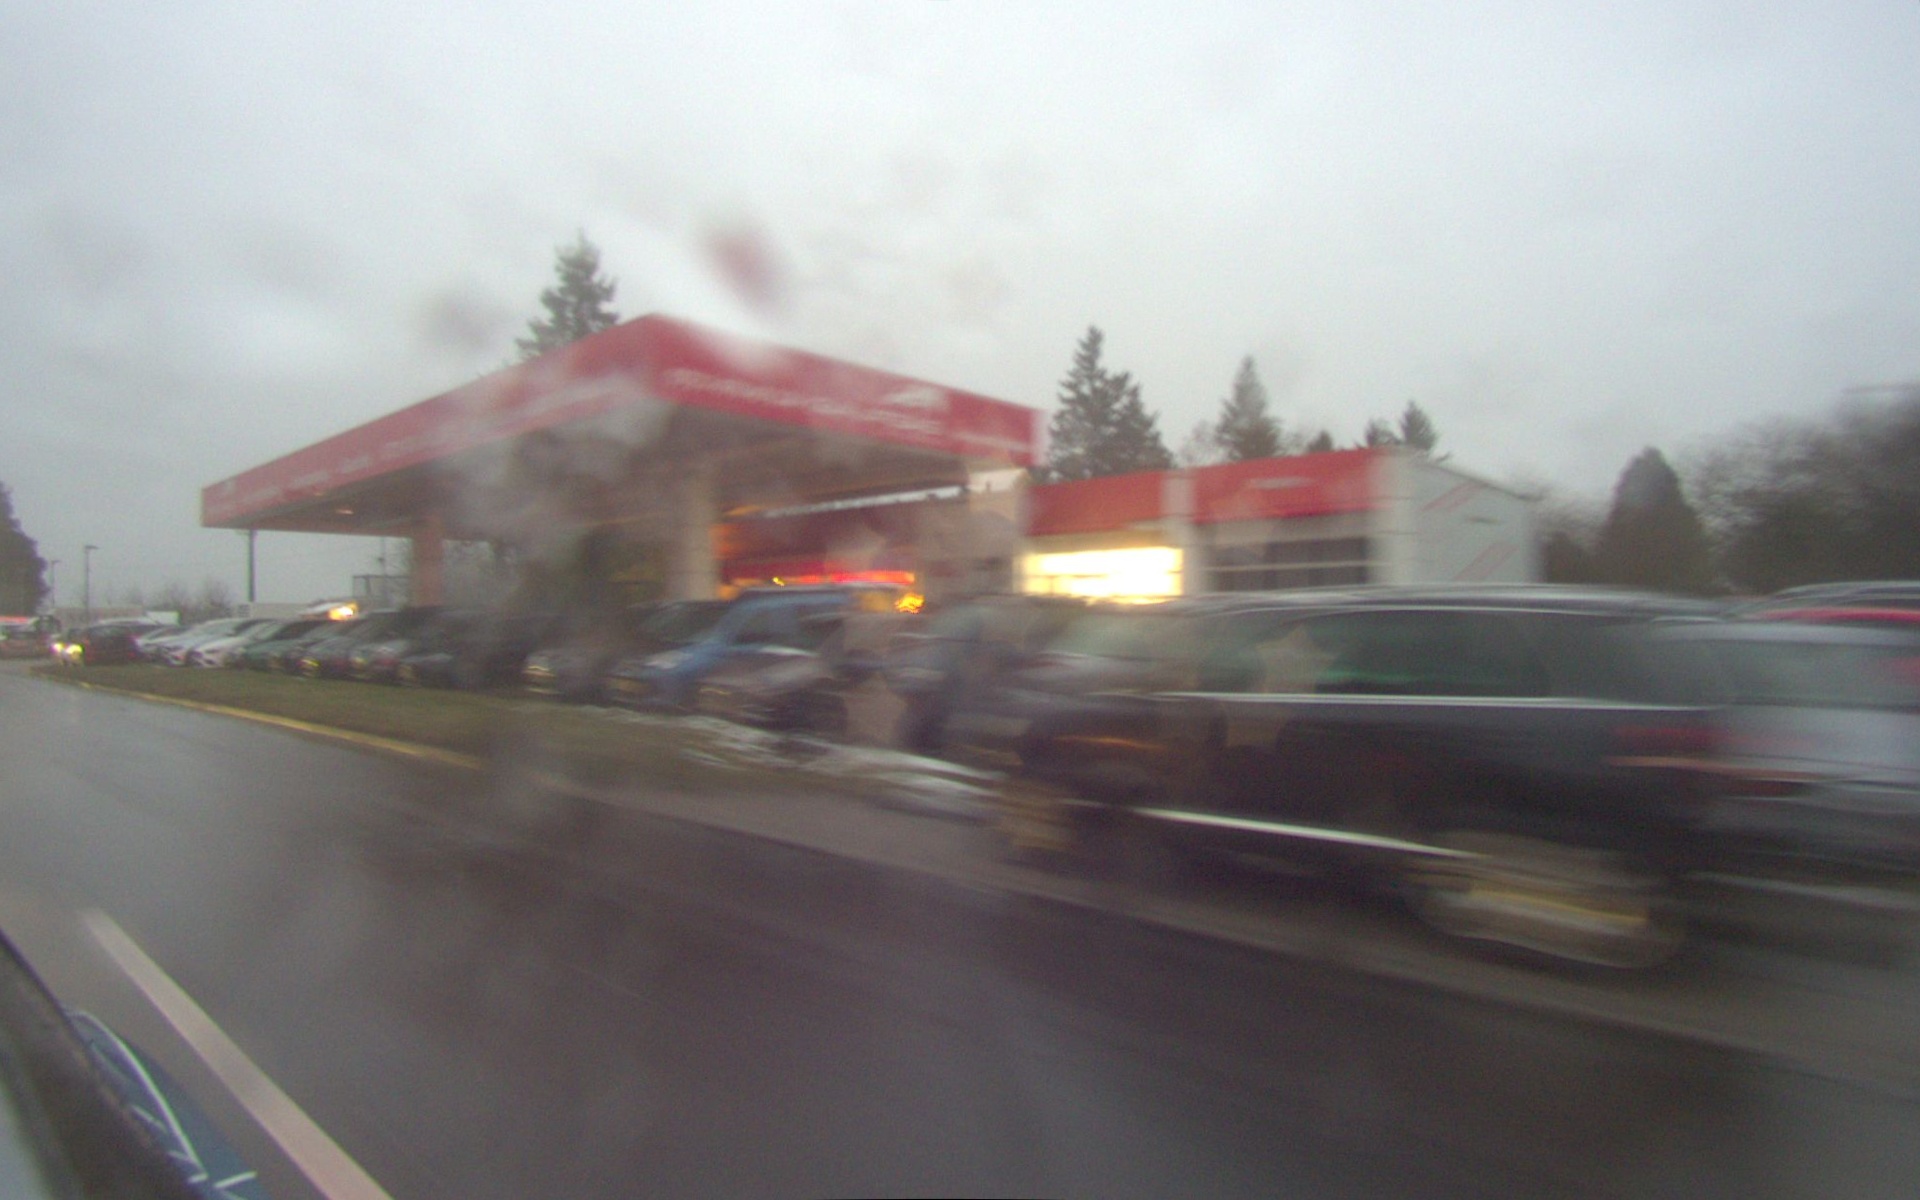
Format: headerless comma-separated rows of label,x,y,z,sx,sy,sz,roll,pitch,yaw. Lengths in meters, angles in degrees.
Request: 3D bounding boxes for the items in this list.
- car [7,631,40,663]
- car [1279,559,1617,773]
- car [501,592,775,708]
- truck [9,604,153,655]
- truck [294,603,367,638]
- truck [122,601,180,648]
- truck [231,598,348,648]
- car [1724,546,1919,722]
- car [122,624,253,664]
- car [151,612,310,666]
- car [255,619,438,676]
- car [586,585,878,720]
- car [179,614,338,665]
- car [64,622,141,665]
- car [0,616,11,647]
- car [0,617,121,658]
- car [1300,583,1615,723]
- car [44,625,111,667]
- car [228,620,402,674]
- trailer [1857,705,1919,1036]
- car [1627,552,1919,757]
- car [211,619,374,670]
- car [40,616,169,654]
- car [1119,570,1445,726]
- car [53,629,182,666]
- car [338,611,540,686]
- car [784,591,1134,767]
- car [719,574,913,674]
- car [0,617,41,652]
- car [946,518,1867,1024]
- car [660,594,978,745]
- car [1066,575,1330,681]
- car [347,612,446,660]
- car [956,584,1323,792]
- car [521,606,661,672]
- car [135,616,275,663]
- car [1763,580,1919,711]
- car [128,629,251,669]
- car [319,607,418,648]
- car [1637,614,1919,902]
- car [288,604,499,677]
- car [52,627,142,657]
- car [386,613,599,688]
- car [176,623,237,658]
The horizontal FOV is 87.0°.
car,-49.947,2.474,53.996,1.157,1.657,2.874,1,-3,-41
car,5.092,0.474,10.225,1.999,1.639,4.233,-2,1,41
car,-5.656,0.803,18.184,1.999,1.675,4.233,-2,1,41
truck,-56.928,1.885,65.713,2.332,3.166,6.790,-2,-2,39
truck,-52.253,1.693,84.129,2.223,2.717,4.682,-2,-1,26
truck,-62.604,1.929,78.296,5.842,3.481,2.012,-2,-4,37
truck,-62.494,2.030,94.544,2.995,4.293,8.626,-2,0,30
car,11.309,0.376,11.554,3.997,1.918,1.973,-1,-1,41
car,-30.563,1.711,40.096,1.838,1.356,3.819,-2,0,40
car,-24.460,1.280,34.034,1.822,1.566,3.990,-3,-1,40
car,-16.325,1.223,27.070,1.838,1.356,3.819,-2,-1,40
car,-3.579,0.737,16.482,1.999,1.777,4.233,-2,1,41
car,-22.485,1.241,32.516,1.942,1.420,3.819,-2,0,40
car,-30.518,1.539,35.996,3.740,1.431,1.664,-2,-2,43
car,-70.325,2.216,71.071,2.057,2.167,5.092,-3,-4,41
car,-60.203,2.457,67.655,2.193,2.659,5.972,-2,-2,39
car,7.608,0.757,15.657,3.997,1.883,1.973,-1,-1,41
car,-33.665,1.743,38.599,3.013,1.555,1.502,-2,-3,41
car,-18.308,1.297,28.838,1.838,1.356,3.819,-2,-1,40
trailer,6.217,0.957,2.370,6.101,1.047,1.972,-2,-3,41
car,9.258,0.512,10.214,3.997,1.883,1.973,-1,-1,41
car,-20.372,1.322,30.985,1.838,1.416,3.819,-2,-1,40
car,-41.851,1.702,49.595,2.007,1.689,4.493,-2,-1,37
car,4.523,0.630,14.497,3.997,1.918,1.973,-1,-1,41
car,-38.313,2.121,46.106,1.825,1.509,4.290,-2,-1,41
car,-12.110,1.067,23.684,1.838,1.571,3.819,-2,-1,40
car,0.147,0.826,12.796,2.136,1.675,4.233,-2,1,41
car,-3.069,0.499,21.127,3.997,1.883,1.867,-1,-1,41
car,-72.879,2.593,75.508,2.175,2.652,6.092,-3,-3,41
car,2.234,0.698,5.939,4.510,1.844,1.950,-2,-3,41
car,-1.881,0.861,14.597,1.999,1.675,4.233,-2,1,41
car,4.284,0.490,18.594,4.288,1.675,1.918,-2,1,41
car,-20.028,1.281,35.908,4.043,1.566,1.848,-3,-1,42
car,2.124,0.762,11.013,1.999,1.675,4.233,-2,1,41
car,-10.253,1.052,27.987,4.146,1.669,1.869,-2,-1,41
car,-28.722,1.475,38.570,1.941,1.662,4.003,-2,-2,43
car,13.047,0.552,13.138,3.999,1.636,1.778,-1,0,42
car,-31.974,2.002,42.061,1.774,1.470,3.736,-2,0,38
car,-30.019,1.378,51.413,1.957,1.937,3.945,-2,-1,41
car,6.080,0.866,7.071,1.719,1.439,3.852,-1,0,42
car,-14.220,0.953,25.576,1.979,1.669,4.237,-2,-1,40
car,-54.608,2.624,64.071,2.022,1.746,4.011,-2,-1,37
car,-10.143,1.040,22.143,1.838,1.452,3.819,-2,-1,40
car,-38.445,2.052,51.589,3.702,1.689,1.653,-2,-2,39
